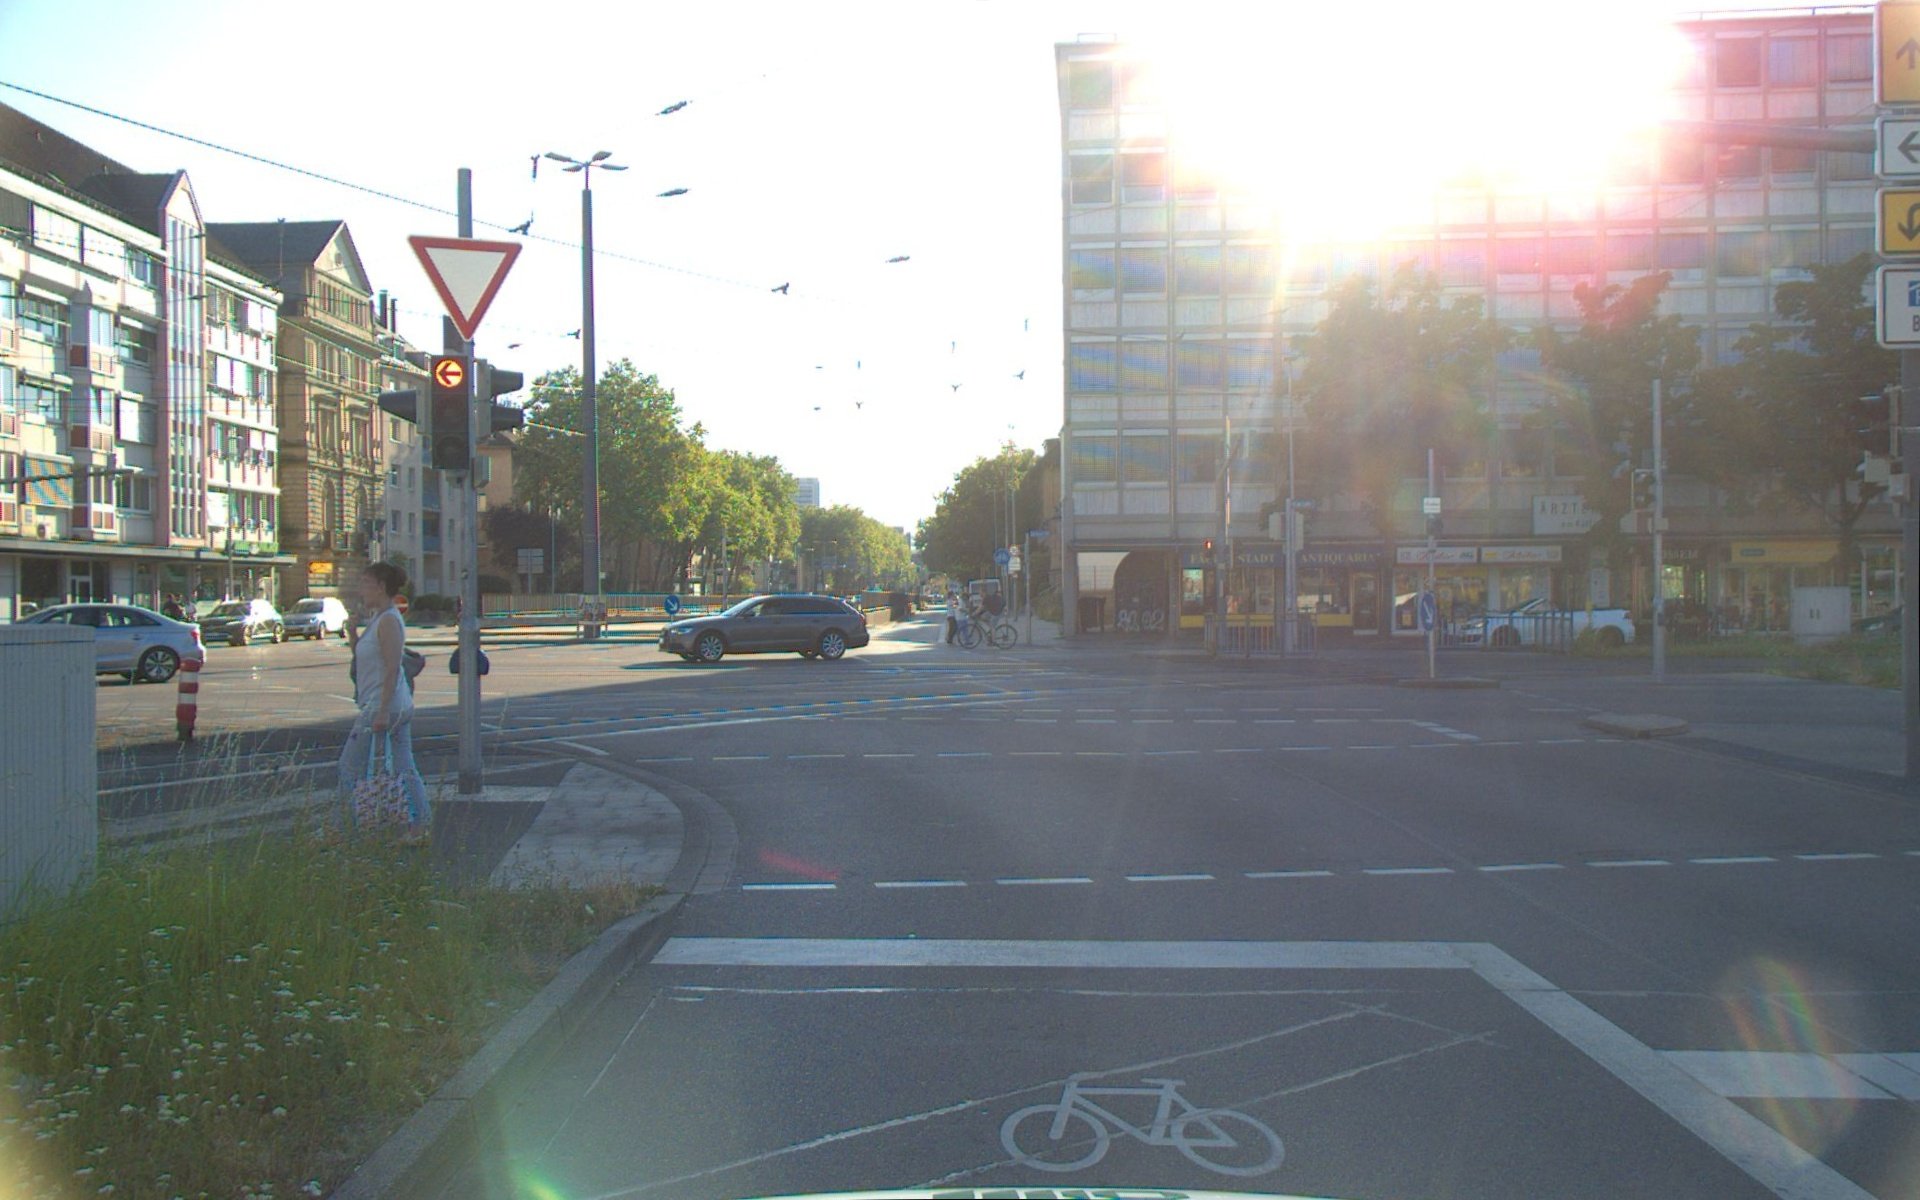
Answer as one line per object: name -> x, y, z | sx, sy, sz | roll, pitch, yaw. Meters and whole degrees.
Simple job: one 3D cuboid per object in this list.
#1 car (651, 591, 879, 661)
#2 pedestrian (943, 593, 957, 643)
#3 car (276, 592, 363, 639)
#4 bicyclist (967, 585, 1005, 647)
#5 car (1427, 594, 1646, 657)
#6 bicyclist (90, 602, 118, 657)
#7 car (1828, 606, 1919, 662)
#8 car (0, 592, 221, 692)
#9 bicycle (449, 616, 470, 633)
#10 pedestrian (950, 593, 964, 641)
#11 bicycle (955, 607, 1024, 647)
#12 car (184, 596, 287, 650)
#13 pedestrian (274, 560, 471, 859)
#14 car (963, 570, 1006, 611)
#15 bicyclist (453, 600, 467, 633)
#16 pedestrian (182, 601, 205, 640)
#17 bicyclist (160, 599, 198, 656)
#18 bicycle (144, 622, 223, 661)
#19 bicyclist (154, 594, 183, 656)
car -> -4.463, 0.559, 37.967 | 4.857, 1.504, 1.984 | -1, 0, -25
pedestrian -> -0.326, 0.559, 51.885 | 0.359, 1.534, 0.542 | -1, 0, -7
car -> -26.982, 0.627, 69.802 | 1.952, 1.892, 4.001 | -1, 0, 2
bicyclist -> 0.744, 0.447, 47.754 | 1.019, 1.769, 0.677 | 0, 0, -5
car -> 14.320, 0.625, 41.333 | 4.816, 1.504, 2.001 | 0, 0, 5
bicyclist -> -29.680, 1.024, 57.358 | 0.580, 1.894, 0.642 | -1, 0, 1
car -> 25.902, 0.902, 44.642 | 3.904, 1.445, 2.001 | 0, 0, 2
car -> -15.664, 0.720, 29.375 | 4.303, 1.624, 1.972 | -1, 0, -39
bicycle -> -29.352, 1.441, 97.004 | 0.586, 0.931, 1.836 | -1, 0, 1
pedestrian -> -0.102, 0.545, 53.007 | 0.359, 1.534, 0.542 | -1, 0, -7
bicycle -> 0.847, 0.774, 47.764 | 1.934, 1.117, 0.677 | -1, 0, -5
car -> -26.940, 0.825, 61.669 | 1.952, 1.892, 4.001 | -1, 0, 2
pedestrian -> -3.324, 0.600, 9.413 | 0.860, 1.625, 0.655 | -1, 0, -1
car -> 1.512, -0.565, 104.920 | 2.435, 2.434, 5.933 | -2, 0, -1
bicyclist -> -29.351, 0.956, 97.160 | 0.580, 1.894, 0.642 | -1, 0, 1
pedestrian -> -32.034, 0.844, 69.120 | 0.613, 1.633, 0.704 | 0, 0, 1
bicyclist -> -24.605, 0.854, 52.104 | 0.881, 1.783, 0.650 | -1, 0, -5
bicycle -> -24.463, 1.303, 52.123 | 2.131, 1.157, 0.658 | -1, 0, -5
bicyclist -> -26.616, 0.837, 55.629 | 0.772, 2.049, 0.596 | 0, 0, -40
